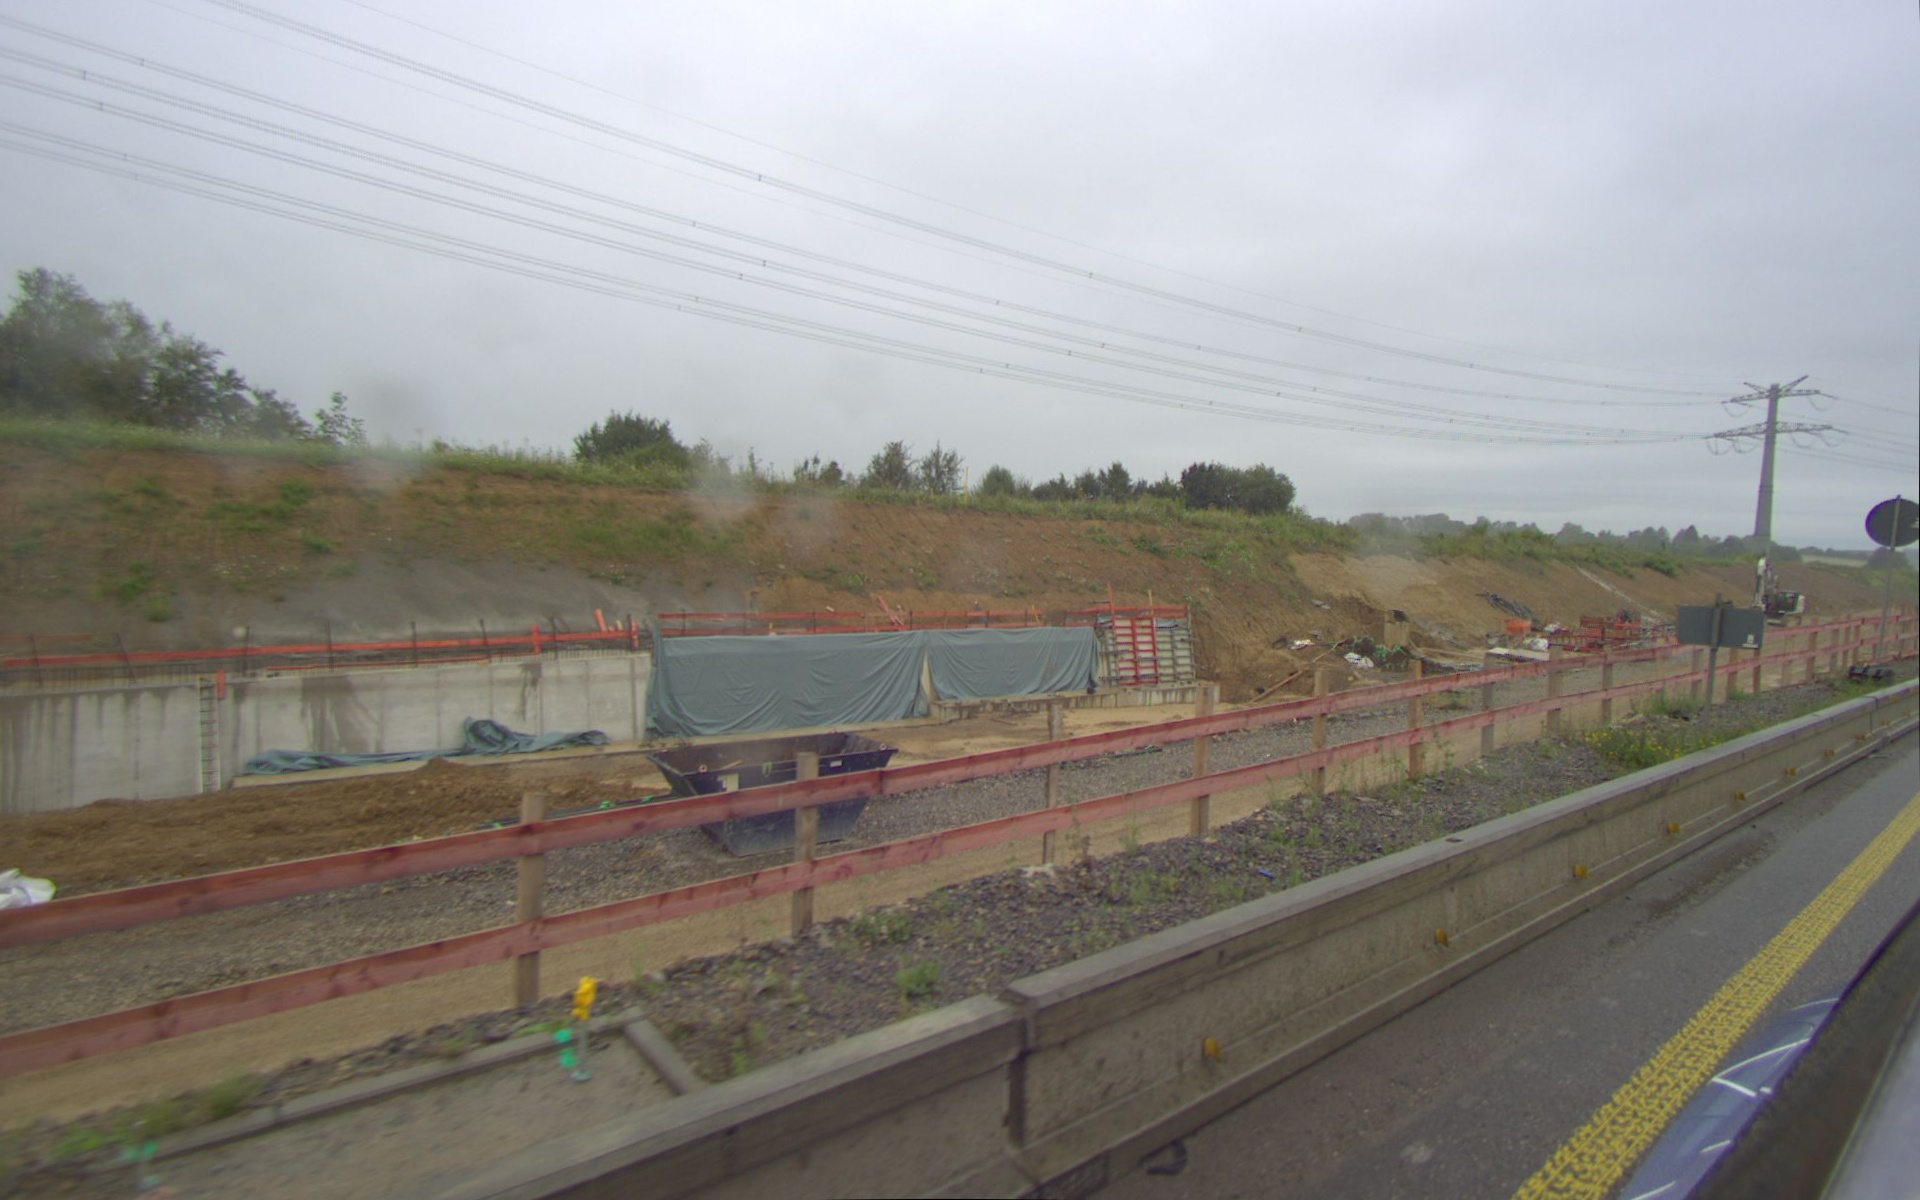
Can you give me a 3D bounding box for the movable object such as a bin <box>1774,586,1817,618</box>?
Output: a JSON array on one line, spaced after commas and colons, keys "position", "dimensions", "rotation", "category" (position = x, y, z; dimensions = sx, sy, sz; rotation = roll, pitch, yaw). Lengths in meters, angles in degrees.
[{"position": [72.659, 0.160, 88.013], "dimensions": [3.930, 2.753, 2.250], "rotation": [-1, 0, -41], "category": "movable object such as a bin"}]
